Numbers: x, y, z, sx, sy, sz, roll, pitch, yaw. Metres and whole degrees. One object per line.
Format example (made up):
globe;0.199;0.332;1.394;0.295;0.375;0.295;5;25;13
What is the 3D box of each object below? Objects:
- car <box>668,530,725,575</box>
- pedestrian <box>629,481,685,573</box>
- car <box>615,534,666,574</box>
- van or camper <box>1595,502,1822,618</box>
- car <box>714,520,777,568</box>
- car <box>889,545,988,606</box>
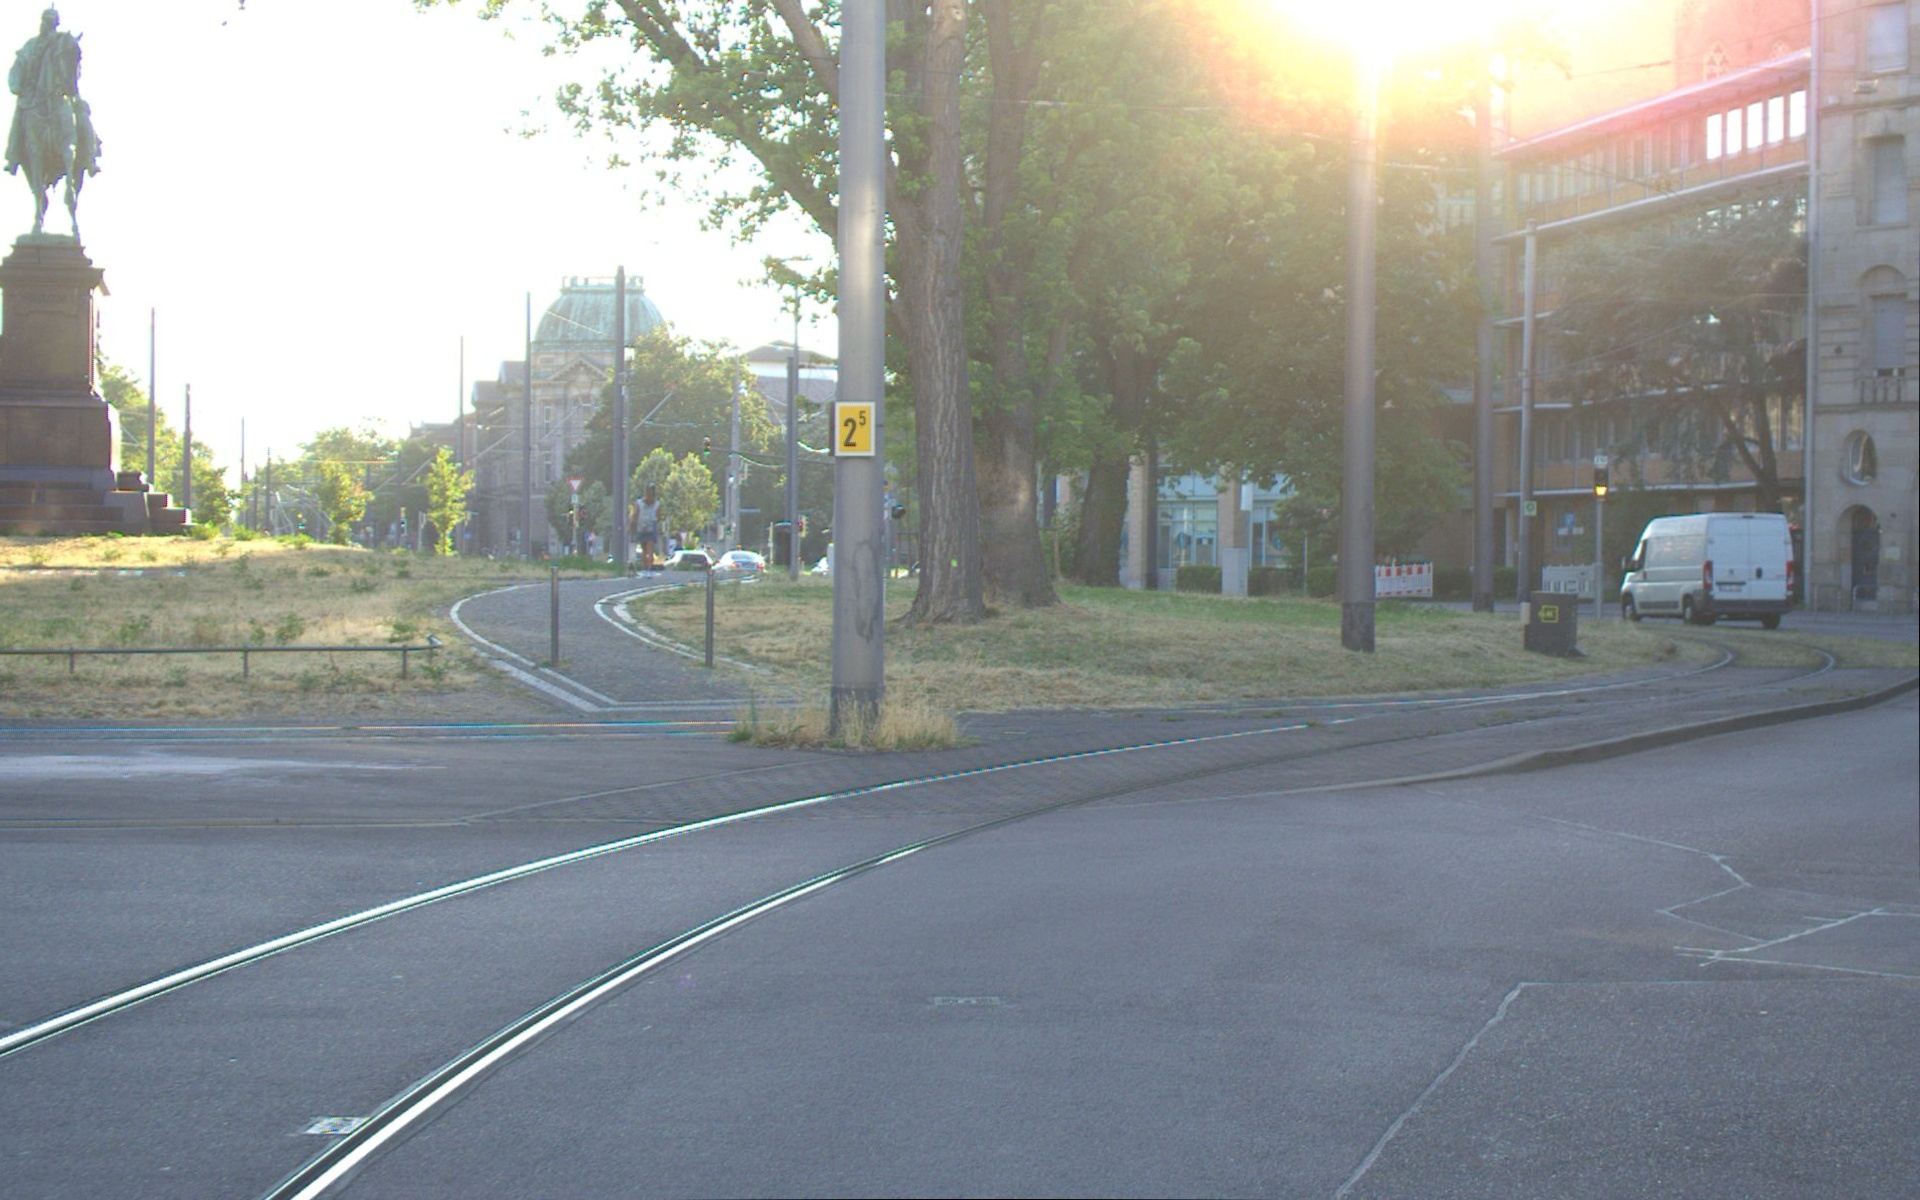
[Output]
car;-12.417;-2.252;161.689;2.138;2.007;4.001;1;1;-12
pedestrian;-5.337;-1.287;60.542;0.637;1.600;0.770;1;2;36
car;-16.432;-2.377;176.724;2.138;2.007;4.001;1;1;-12
van or camper;16.414;-0.926;75.822;2.606;2.464;6.322;0;1;-11
car;-9.297;-2.439;148.975;2.138;2.007;4.001;1;1;-12
car;-0.744;-0.843;115.619;1.993;1.963;4.001;0;2;-22
